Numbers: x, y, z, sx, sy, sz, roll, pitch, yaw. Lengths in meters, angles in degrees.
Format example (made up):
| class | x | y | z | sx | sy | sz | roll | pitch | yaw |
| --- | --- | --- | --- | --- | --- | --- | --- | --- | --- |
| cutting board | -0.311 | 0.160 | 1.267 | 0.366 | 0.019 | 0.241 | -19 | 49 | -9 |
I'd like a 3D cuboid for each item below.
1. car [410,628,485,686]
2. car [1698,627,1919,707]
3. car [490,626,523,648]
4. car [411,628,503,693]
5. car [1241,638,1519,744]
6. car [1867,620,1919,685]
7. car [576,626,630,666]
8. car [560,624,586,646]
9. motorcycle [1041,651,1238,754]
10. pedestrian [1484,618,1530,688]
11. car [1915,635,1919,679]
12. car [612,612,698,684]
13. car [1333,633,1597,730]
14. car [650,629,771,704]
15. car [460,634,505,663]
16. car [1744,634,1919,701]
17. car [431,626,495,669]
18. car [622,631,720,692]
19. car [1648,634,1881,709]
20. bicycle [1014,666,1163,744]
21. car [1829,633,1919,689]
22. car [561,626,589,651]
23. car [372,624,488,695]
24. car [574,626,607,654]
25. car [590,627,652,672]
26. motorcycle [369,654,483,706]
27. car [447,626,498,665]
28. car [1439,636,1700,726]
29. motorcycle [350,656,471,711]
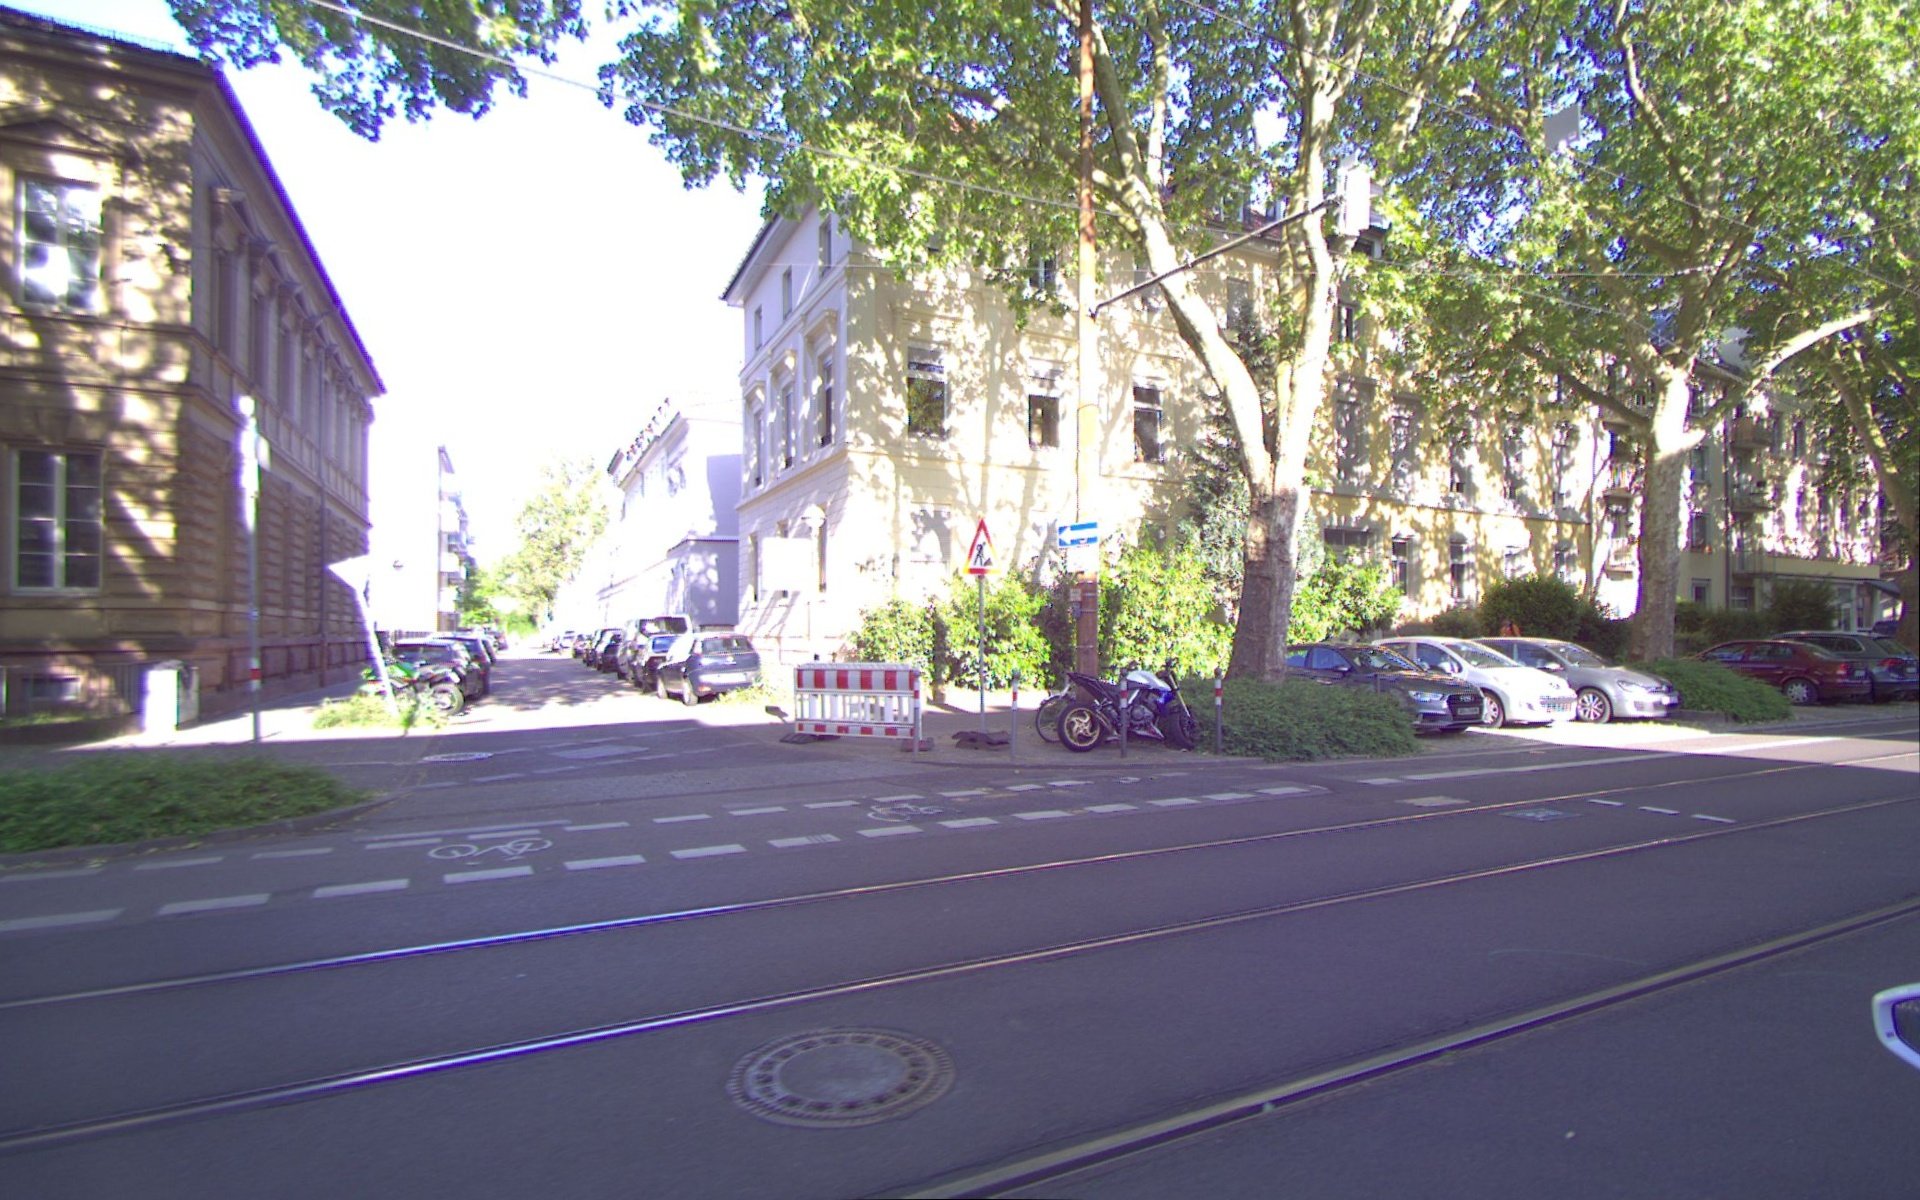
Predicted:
| class | x | y | z | sx | sy | sz | roll | pitch | yaw |
| --- | --- | --- | --- | --- | --- | --- | --- | --- | --- |
| car | -16.025 | 1.741 | 31.571 | 1.686 | 1.570 | 3.913 | 1 | 0 | -21 |
| car | 20.658 | 1.548 | 24.413 | 1.857 | 1.648 | 3.977 | 1 | 0 | -29 |
| car | -31.375 | 2.548 | 69.522 | 1.820 | 1.350 | 3.913 | 1 | 0 | -21 |
| car | -13.475 | 1.569 | 27.092 | 1.820 | 1.510 | 3.913 | 1 | 0 | -21 |
| car | 6.675 | 1.380 | 16.391 | 1.825 | 1.350 | 3.903 | 1 | 0 | -28 |
| car | 30.755 | 1.664 | 30.301 | 1.955 | 1.949 | 4.657 | 1 | 0 | -27 |
| car | -15.897 | 2.026 | 44.584 | 1.673 | 1.625 | 3.761 | -2 | -1 | -28 |
| car | -30.160 | 2.726 | 78.211 | 1.671 | 1.625 | 3.767 | -2 | -1 | -24 |
| motorcycle | 2.269 | 1.253 | 12.683 | 2.355 | 1.162 | 0.883 | 1 | -1 | -22 |
| pedestrian | 15.137 | 1.454 | 27.791 | 0.830 | 1.874 | 0.859 | 1 | -1 | -36 |
| car | 32.990 | 1.909 | 31.779 | 1.618 | 1.449 | 3.718 | 1 | 0 | -29 |
| car | -9.648 | 1.460 | 31.573 | 1.987 | 2.029 | 4.395 | -2 | -1 | -24 |
| car | 8.834 | 1.360 | 17.885 | 1.778 | 1.472 | 3.904 | 1 | -2 | -29 |
| car | -5.594 | 1.409 | 22.206 | 1.673 | 1.437 | 3.761 | -2 | -1 | -28 |
| car | -24.791 | 2.505 | 52.287 | 1.820 | 1.350 | 3.913 | 1 | 0 | -21 |
| car | 22.711 | 1.670 | 25.607 | 1.797 | 1.440 | 3.900 | 1 | 0 | -30 |
| car | -17.700 | 1.668 | 35.874 | 1.677 | 1.350 | 3.913 | 1 | 0 | -21 |
| car | -7.659 | 1.560 | 26.391 | 1.673 | 1.437 | 3.904 | -1 | -1 | -28 |
| car | 18.681 | 1.599 | 23.513 | 1.727 | 1.461 | 3.903 | 1 | 0 | -28 |
| bicycle | 1.759 | 1.404 | 13.650 | 2.004 | 0.953 | 0.540 | 1 | -1 | -22 |
| car | 28.025 | 1.795 | 29.271 | 1.725 | 1.518 | 3.718 | 1 | 0 | -29 |
| car | -27.320 | 2.728 | 71.236 | 1.671 | 1.625 | 3.767 | -2 | -1 | -24 |
| car | -11.923 | 1.290 | 22.830 | 1.820 | 1.350 | 3.914 | 1 | 0 | -21 |
| car | -23.004 | 2.491 | 62.466 | 1.671 | 1.625 | 3.767 | -2 | -1 | -24 |
| car | -13.552 | 1.934 | 40.050 | 1.673 | 1.625 | 3.761 | -2 | -1 | -28 |
| motorcycle | -10.903 | 1.630 | 20.572 | 1.924 | 0.990 | 0.719 | 1 | 0 | -17 |
| car | -23.039 | 2.112 | 47.545 | 1.820 | 1.659 | 3.913 | 1 | 0 | -21 |
| car | 11.416 | 1.439 | 19.081 | 1.783 | 1.481 | 3.904 | 1 | -2 | -28 |
| motorcycle | -10.577 | 1.610 | 19.402 | 1.924 | 0.990 | 0.719 | 1 | 0 | -17 |
